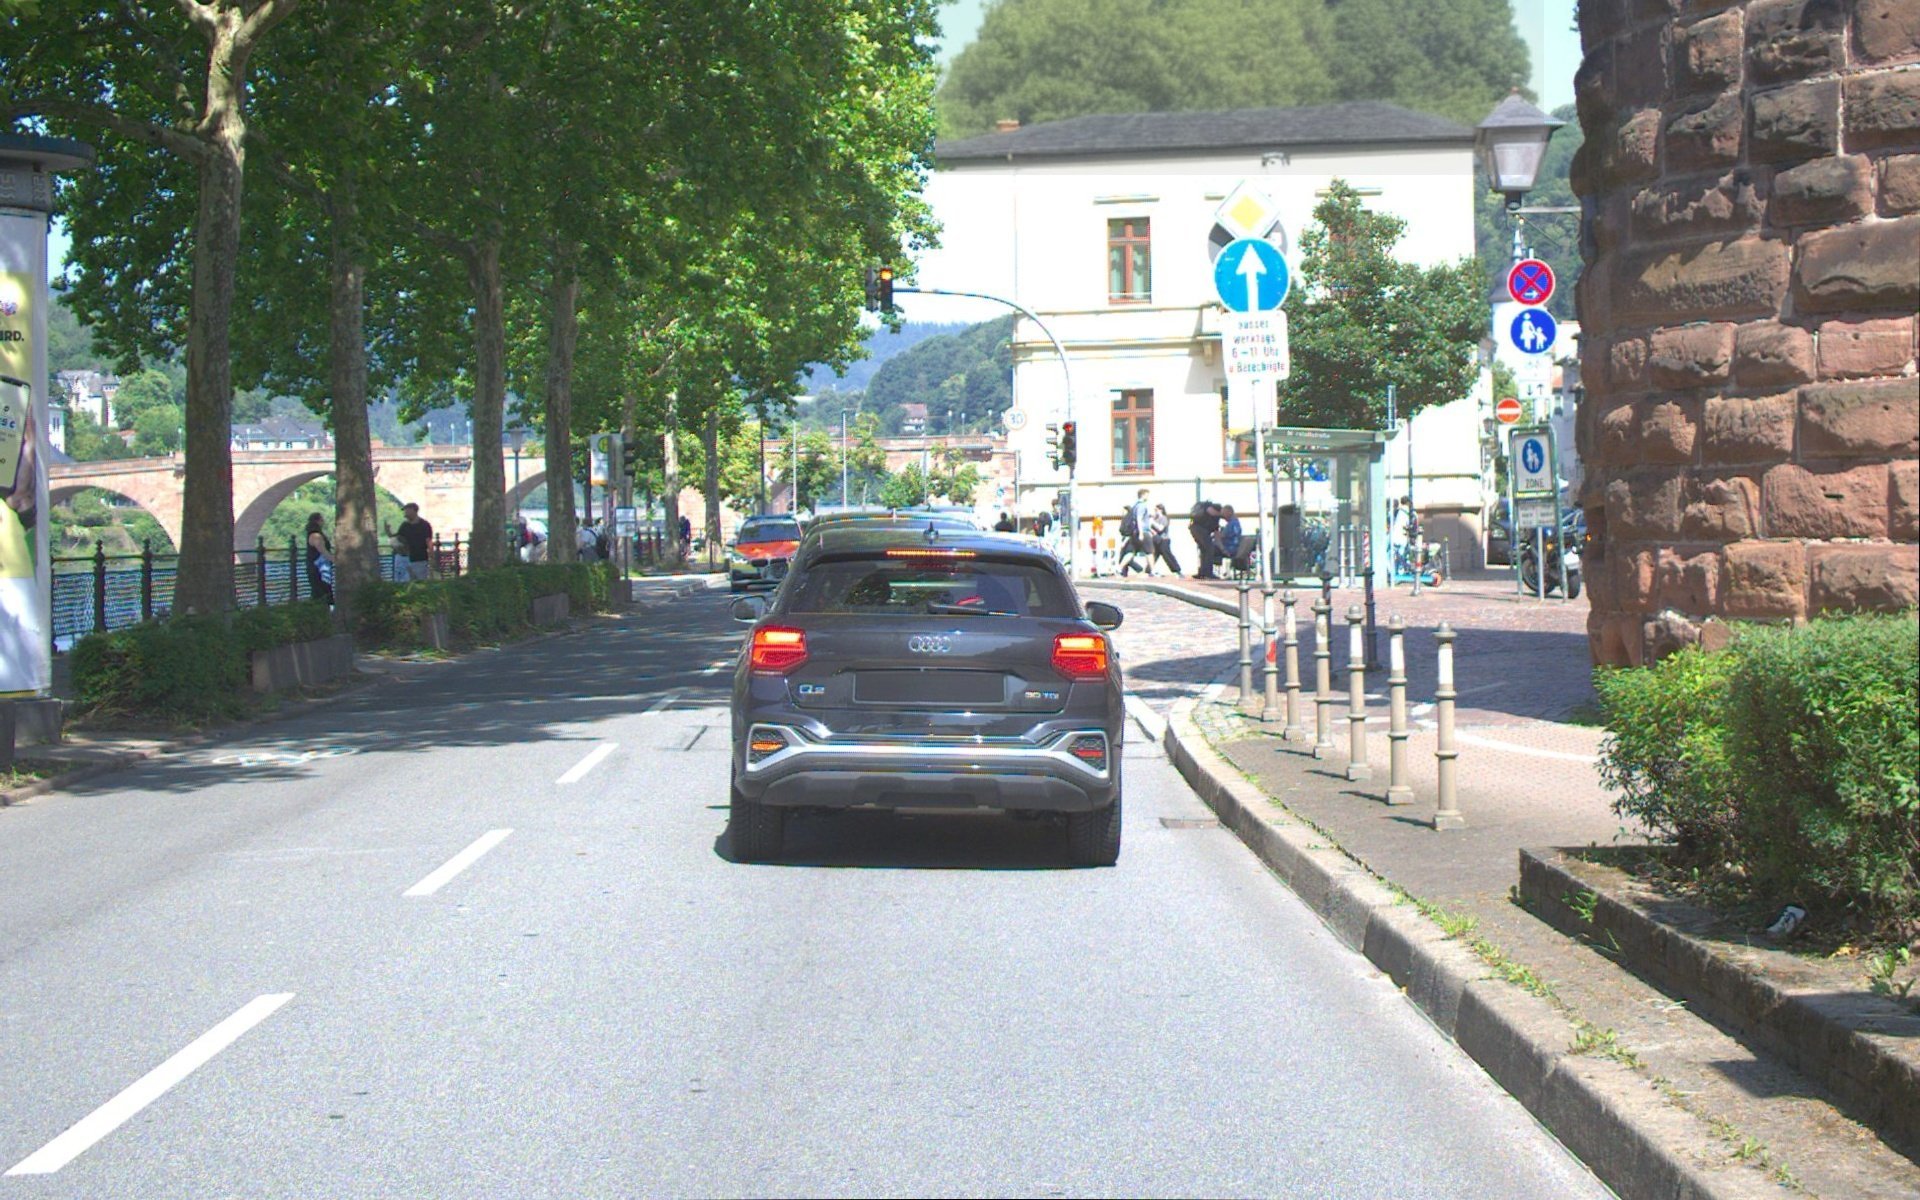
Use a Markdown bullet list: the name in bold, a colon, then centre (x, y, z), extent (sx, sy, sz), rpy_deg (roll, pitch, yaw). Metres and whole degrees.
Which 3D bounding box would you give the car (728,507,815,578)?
- **car**: centre (-4.195, -1.301, 76.827), extent (1.615, 1.517, 3.476), rpy_deg (-2, 1, 2)

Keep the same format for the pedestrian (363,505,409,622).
- **pedestrian**: centre (-8.635, -0.554, 51.713), extent (0.563, 1.735, 0.665), rpy_deg (-2, 1, -3)

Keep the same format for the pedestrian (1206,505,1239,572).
- **pedestrian**: centre (4.758, -1.108, 62.355), extent (0.546, 1.197, 0.522), rpy_deg (1, 1, 1)

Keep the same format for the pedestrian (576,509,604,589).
- **pedestrian**: centre (-7.657, -1.053, 71.159), extent (0.517, 1.632, 0.439), rpy_deg (-2, 1, -7)

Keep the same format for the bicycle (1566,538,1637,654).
- **bicycle**: centre (5.952, -0.052, 31.974), extent (0.496, 1.027, 2.050), rpy_deg (-3, 1, 8)

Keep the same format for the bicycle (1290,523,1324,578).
- **bicycle**: centre (6.325, -0.909, 62.694), extent (0.450, 0.971, 1.400), rpy_deg (1, 1, 0)

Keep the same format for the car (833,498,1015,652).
- **car**: centre (-0.364, -0.298, 36.417), extent (1.801, 1.518, 3.716), rpy_deg (-1, 1, 0)

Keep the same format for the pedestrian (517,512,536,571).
- **pedestrian**: centre (-10.558, -1.427, 83.725), extent (0.409, 1.420, 0.457), rpy_deg (1, 1, -3)

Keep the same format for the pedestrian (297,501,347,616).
- **pedestrian**: centre (-9.646, -0.631, 51.982), extent (0.645, 1.711, 0.665), rpy_deg (1, 1, -3)

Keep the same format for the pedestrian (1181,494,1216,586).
- **pedestrian**: centre (4.283, -1.073, 61.721), extent (0.557, 1.627, 0.660), rpy_deg (1, 1, 1)

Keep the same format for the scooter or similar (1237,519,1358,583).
- **scooter or similar**: centre (5.316, -0.774, 54.164), extent (1.845, 0.960, 0.429), rpy_deg (1, 1, -1)

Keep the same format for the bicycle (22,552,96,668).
- **bicycle**: centre (-9.397, 0.088, 35.896), extent (0.357, 1.158, 1.826), rpy_deg (1, 1, -3)

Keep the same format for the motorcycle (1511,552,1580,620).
- **motorcycle**: centre (7.608, -0.195, 44.714), extent (0.483, 0.815, 2.280), rpy_deg (-2, 1, 0)

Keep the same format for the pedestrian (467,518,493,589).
- **pedestrian**: centre (-10.622, -1.034, 76.097), extent (0.497, 1.532, 0.680), rpy_deg (-2, 1, -7)

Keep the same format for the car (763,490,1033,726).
- **car**: centre (-0.422, 0.005, 25.370), extent (1.801, 1.557, 3.716), rpy_deg (-2, 1, 0)

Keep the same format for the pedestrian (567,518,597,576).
- **pedestrian**: centre (-8.464, -1.185, 77.025), extent (0.591, 1.274, 0.525), rpy_deg (1, 1, 0)

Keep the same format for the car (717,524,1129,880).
- **car**: centre (-0.204, 0.401, 16.639), extent (1.748, 1.489, 3.629), rpy_deg (1, 1, -1)

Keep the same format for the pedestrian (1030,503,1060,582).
- **pedestrian**: centre (1.688, -1.141, 68.212), extent (0.557, 1.552, 0.660), rpy_deg (1, 1, 1)

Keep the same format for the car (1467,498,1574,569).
- **car**: centre (14.114, -1.675, 86.742), extent (1.993, 1.710, 4.000), rpy_deg (1, 1, 0)

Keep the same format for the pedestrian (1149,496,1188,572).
- **pedestrian**: centre (4.328, -1.376, 71.329), extent (0.747, 1.552, 0.588), rpy_deg (1, 1, 1)
